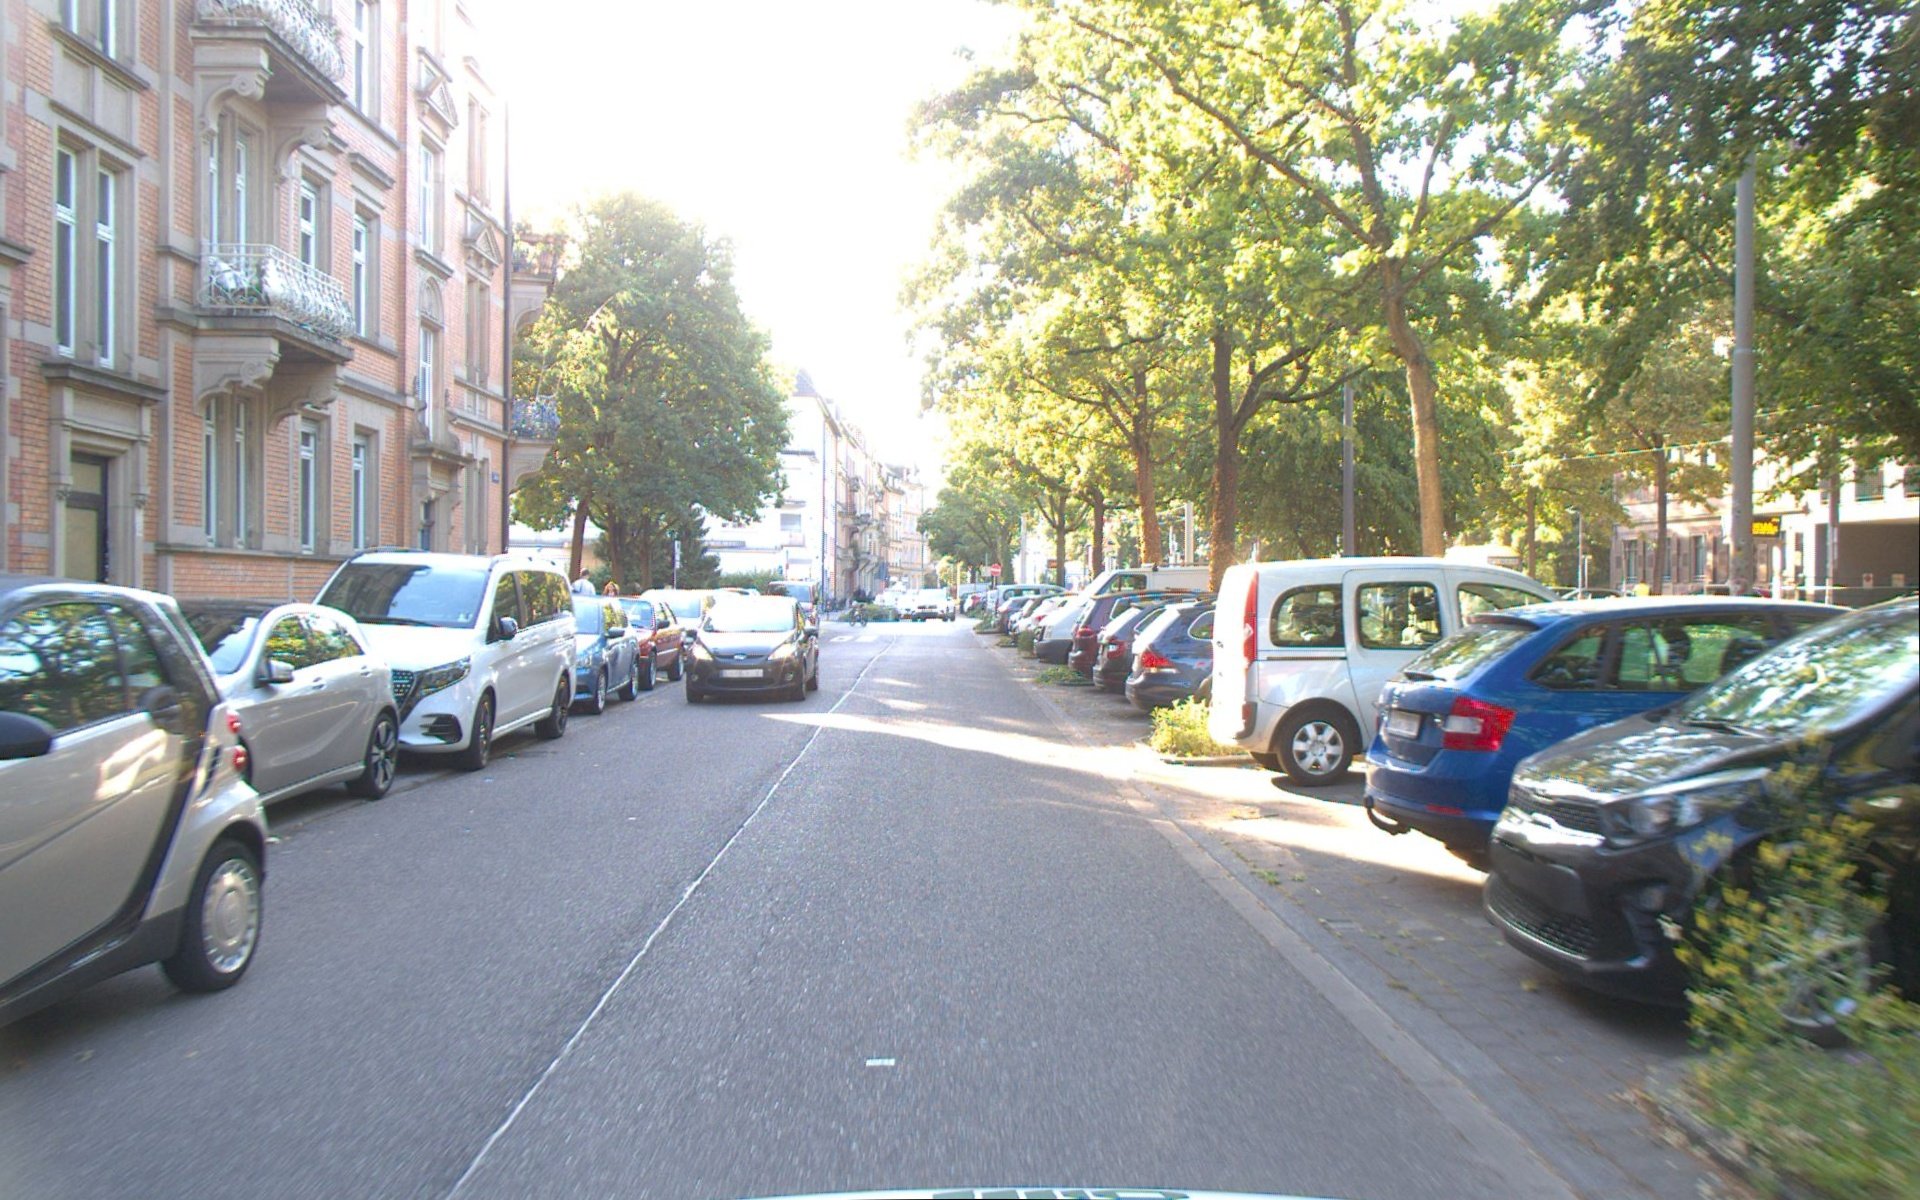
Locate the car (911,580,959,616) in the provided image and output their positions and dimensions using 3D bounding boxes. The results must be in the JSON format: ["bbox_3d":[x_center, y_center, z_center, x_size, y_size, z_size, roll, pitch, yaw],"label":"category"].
[{"bbox_3d":[-1.249,-0.101,83.535,1.740,1.703,4.490,1,0,8],"label":"car"}]

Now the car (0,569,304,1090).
[{"bbox_3d":[-3.435,0.651,5.385,1.473,1.460,2.753,-1,0,0],"label":"car"}]

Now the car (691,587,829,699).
[{"bbox_3d":[-2.858,0.568,24.319,1.634,1.489,3.999,-1,0,-2],"label":"car"}]

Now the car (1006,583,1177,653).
[{"bbox_3d":[3.445,0.495,43.880,4.303,1.729,1.857,1,-2,-4],"label":"car"}]

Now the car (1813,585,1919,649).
[{"bbox_3d":[26.378,0.485,45.955,4.604,1.713,1.999,1,-2,23],"label":"car"}]

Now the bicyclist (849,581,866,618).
[{"bbox_3d":[-4.524,-0.031,72.982,0.617,1.601,0.799,2,-2,-14],"label":"bicyclist"}]

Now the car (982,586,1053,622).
[{"bbox_3d":[3.442,0.239,98.587,3.902,2.049,2.001,1,-2,10],"label":"car"}]

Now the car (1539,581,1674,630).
[{"bbox_3d":[23.975,0.211,61.445,4.603,1.713,2.000,1,-2,22],"label":"car"}]

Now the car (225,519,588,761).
[{"bbox_3d":[-5.130,0.397,16.187,1.953,1.955,5.037,1,-2,-2],"label":"car"}]

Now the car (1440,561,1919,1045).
[{"bbox_3d":[3.866,0.616,6.205,3.599,1.528,1.761,-2,0,0],"label":"car"}]

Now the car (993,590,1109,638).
[{"bbox_3d":[3.203,0.524,58.873,3.908,1.591,1.857,1,-2,-4],"label":"car"}]

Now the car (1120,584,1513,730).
[{"bbox_3d":[3.929,0.622,18.745,4.131,1.478,1.649,-2,0,3],"label":"car"}]

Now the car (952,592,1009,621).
[{"bbox_3d":[1.554,0.505,122.573,3.902,2.049,2.001,1,-2,10],"label":"car"}]

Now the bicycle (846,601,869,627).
[{"bbox_3d":[-4.524,0.627,72.918,0.630,1.119,1.936,2,-2,-14],"label":"bicycle"}]

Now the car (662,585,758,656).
[{"bbox_3d":[-5.772,0.445,38.615,1.721,1.542,4.160,1,0,-2],"label":"car"}]

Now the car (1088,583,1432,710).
[{"bbox_3d":[3.831,0.575,21.639,4.133,1.478,1.865,-2,0,0],"label":"car"}]

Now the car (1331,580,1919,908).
[{"bbox_3d":[4.197,0.658,8.773,4.000,1.468,1.760,-2,0,-4],"label":"car"}]

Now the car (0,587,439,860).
[{"bbox_3d":[-5.019,0.674,11.189,1.640,1.480,4.210,-1,0,0],"label":"car"}]

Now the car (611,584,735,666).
[{"bbox_3d":[-5.596,0.459,32.682,1.669,1.454,3.877,3,0,1],"label":"car"}]

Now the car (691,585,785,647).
[{"bbox_3d":[-5.738,0.388,43.213,1.720,1.491,4.269,1,0,2],"label":"car"}]

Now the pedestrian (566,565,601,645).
[{"bbox_3d":[-8.199,0.101,36.030,0.585,1.697,0.708,0,2,-1],"label":"pedestrian"}]

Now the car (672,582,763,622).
[{"bbox_3d":[-11.346,0.090,77.672,3.905,1.736,2.000,1,-2,0],"label":"car"}]

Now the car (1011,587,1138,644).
[{"bbox_3d":[3.697,0.510,53.912,3.908,1.729,1.857,1,-2,-4],"label":"car"}]

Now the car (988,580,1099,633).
[{"bbox_3d":[3.079,0.259,61.547,3.908,1.825,1.857,1,-2,-4],"label":"car"}]

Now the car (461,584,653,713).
[{"bbox_3d":[-5.247,0.577,22.019,1.636,1.512,3.999,2,0,-2],"label":"car"}]

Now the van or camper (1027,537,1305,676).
[{"bbox_3d":[3.816,0.150,31.277,4.882,2.419,2.183,1,-2,-3],"label":"van or camper"}]

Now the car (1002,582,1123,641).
[{"bbox_3d":[3.452,0.413,56.206,3.908,1.857,1.857,1,-2,-4],"label":"car"}]

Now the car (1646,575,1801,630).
[{"bbox_3d":[25.473,0.089,55.347,4.604,1.713,1.999,1,-2,23],"label":"car"}]

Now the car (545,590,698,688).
[{"bbox_3d":[-5.474,0.587,27.247,1.636,1.454,4.240,1,0,0],"label":"car"}]

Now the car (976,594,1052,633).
[{"bbox_3d":[2.982,0.757,91.021,3.902,2.049,2.001,1,-2,10],"label":"car"}]

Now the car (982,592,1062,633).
[{"bbox_3d":[3.299,0.648,87.492,3.902,2.049,2.001,1,-2,10],"label":"car"}]

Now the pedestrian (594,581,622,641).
[{"bbox_3d":[-9.413,0.295,44.245,0.585,1.577,0.708,0,2,-1],"label":"pedestrian"}]

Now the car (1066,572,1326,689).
[{"bbox_3d":[3.737,0.469,26.714,3.905,1.721,1.859,-2,0,0],"label":"car"}]

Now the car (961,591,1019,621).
[{"bbox_3d":[2.179,0.428,119.017,3.902,2.049,2.001,1,-2,10],"label":"car"}]

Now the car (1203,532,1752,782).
[{"bbox_3d":[4.297,0.456,14.193,4.133,1.896,1.761,-2,0,0],"label":"car"}]

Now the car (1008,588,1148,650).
[{"bbox_3d":[3.477,0.584,49.245,3.908,1.729,1.857,1,-2,-4],"label":"car"}]

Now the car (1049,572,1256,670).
[{"bbox_3d":[3.896,0.412,33.844,3.908,1.849,1.858,1,0,-4],"label":"car"}]

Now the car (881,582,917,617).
[{"bbox_3d":[-3.460,-0.014,93.478,1.953,1.870,3.998,1,-2,-2],"label":"car"}]

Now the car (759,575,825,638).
[{"bbox_3d":[-5.789,0.213,57.405,1.918,2.053,4.267,1,0,-1],"label":"car"}]

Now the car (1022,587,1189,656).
[{"bbox_3d":[3.594,0.548,41.266,3.908,1.575,1.857,1,-2,-4],"label":"car"}]
